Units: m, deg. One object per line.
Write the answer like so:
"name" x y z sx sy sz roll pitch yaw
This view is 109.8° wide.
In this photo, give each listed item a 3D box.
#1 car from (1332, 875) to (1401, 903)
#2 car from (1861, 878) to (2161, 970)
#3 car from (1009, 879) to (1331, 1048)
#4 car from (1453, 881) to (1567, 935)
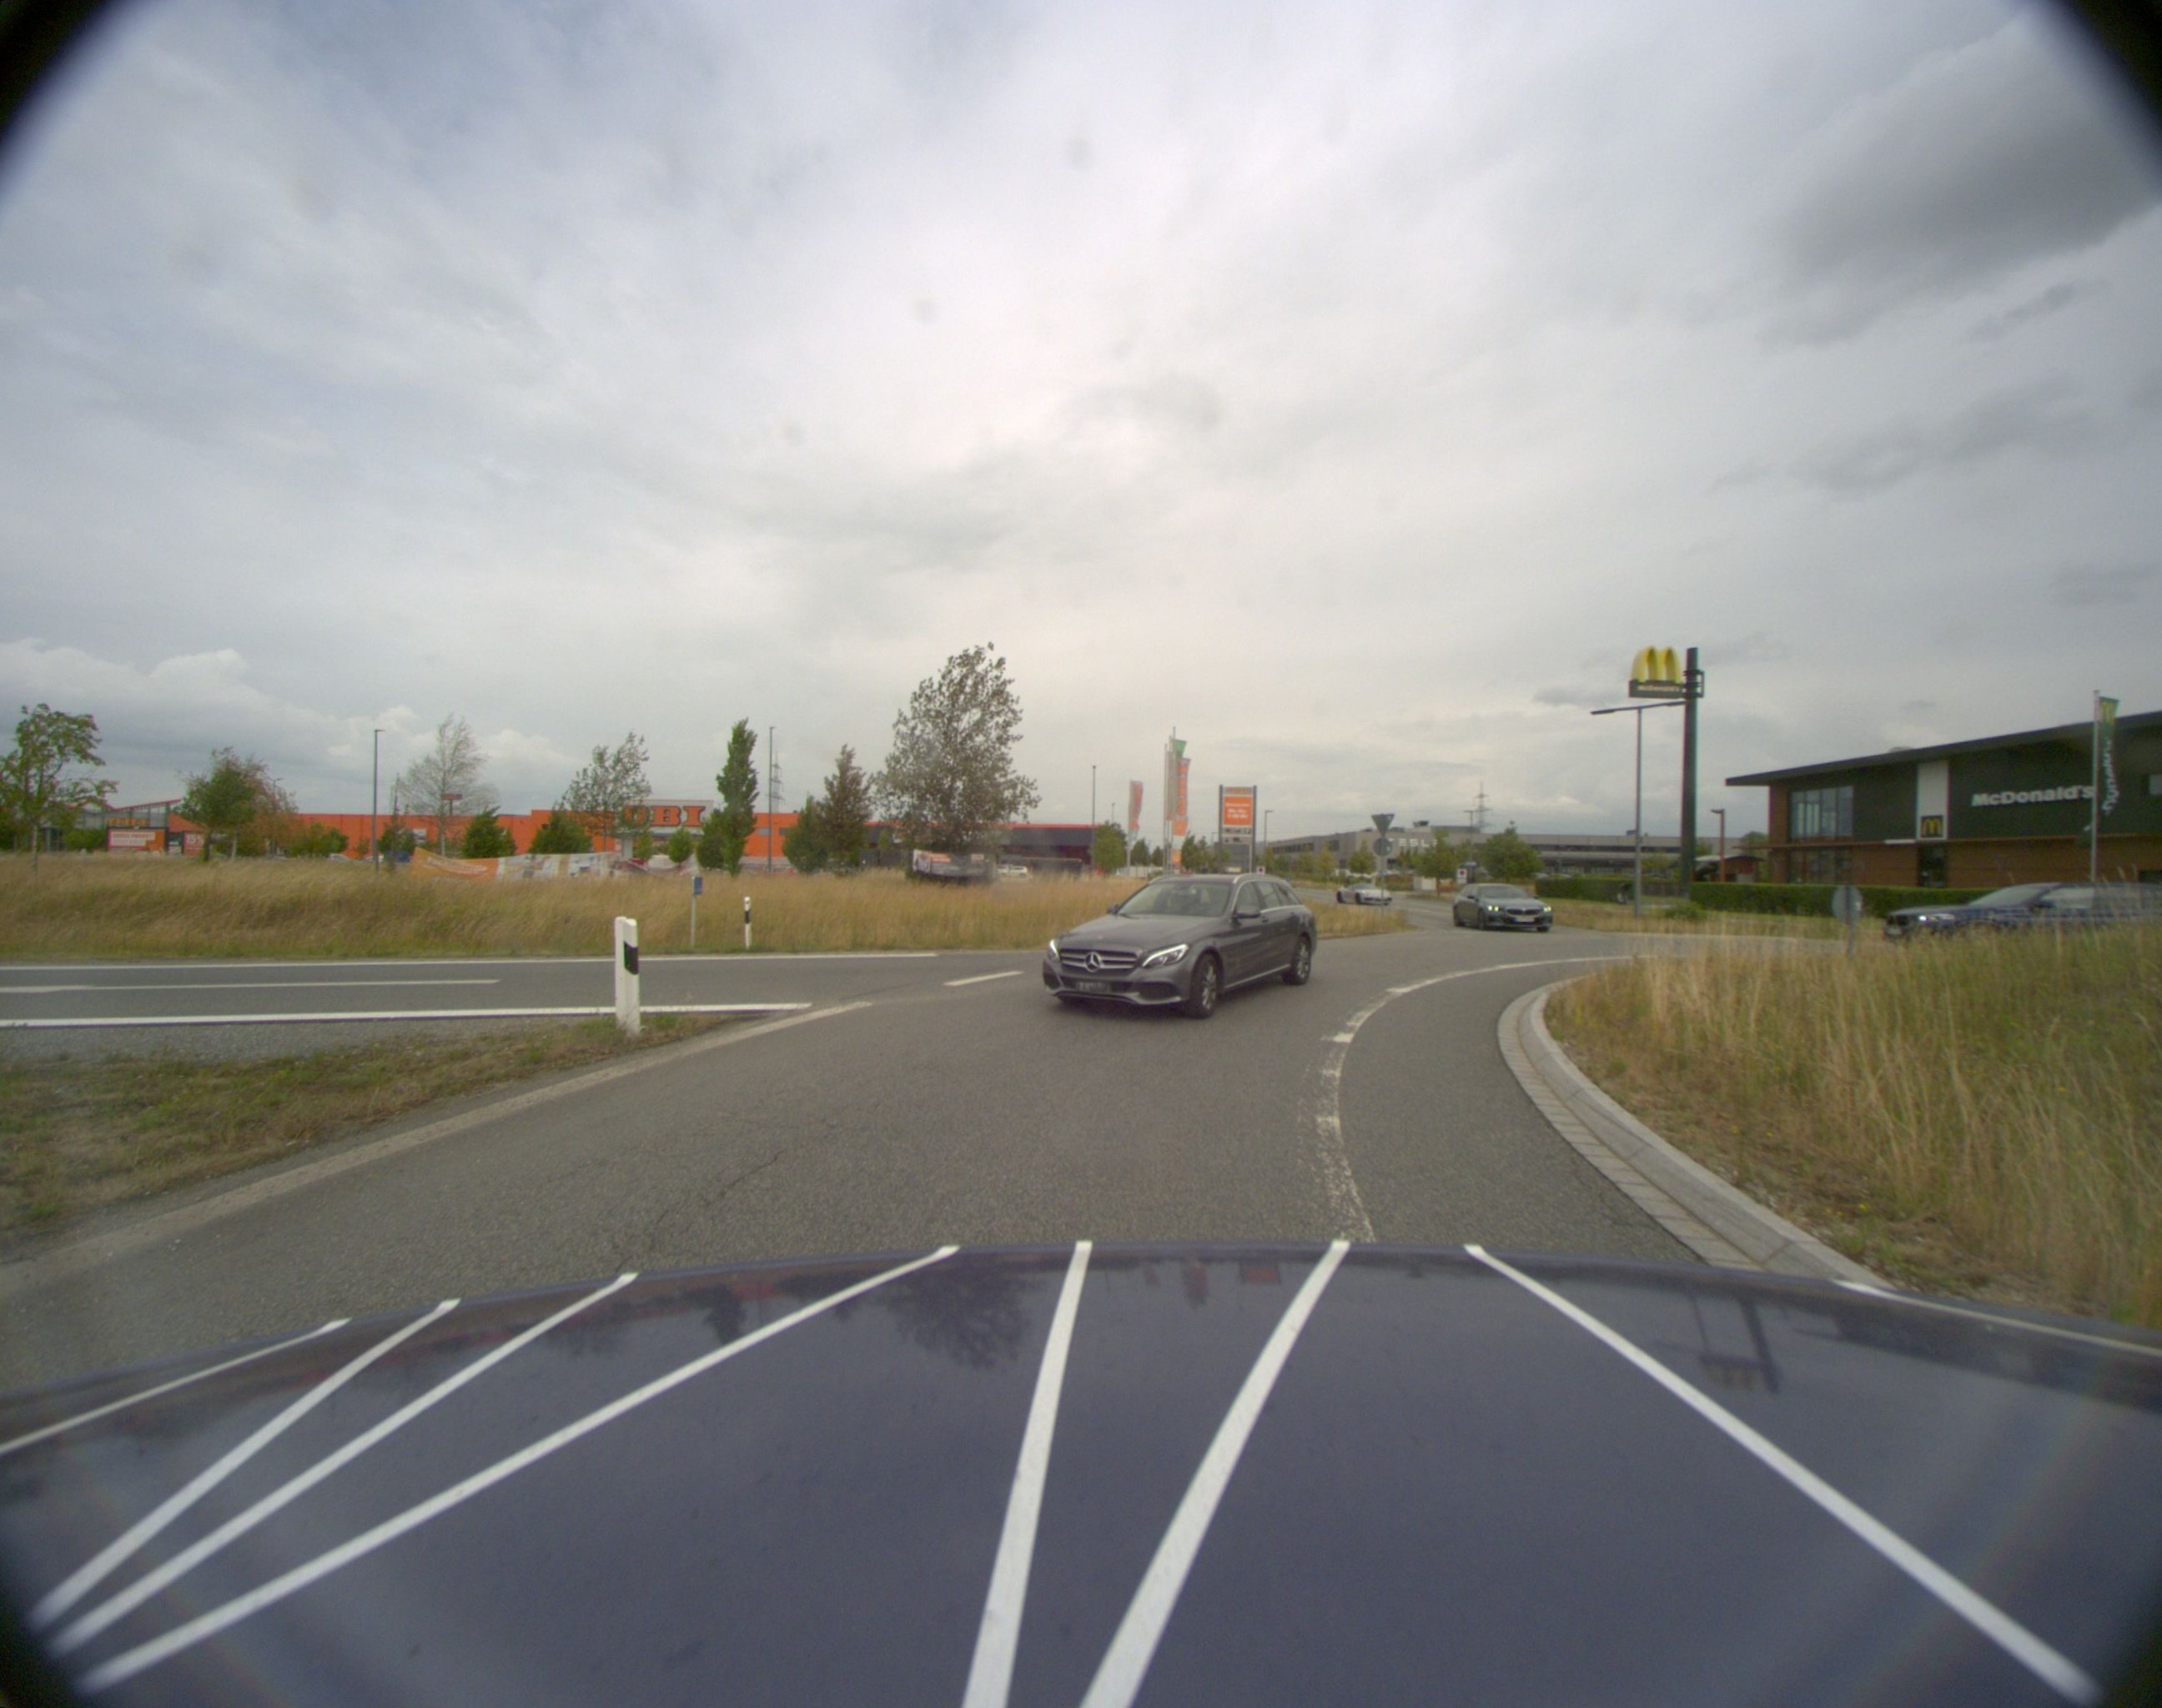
"car" 17.000 2.057 45.475 1.828 1.390 4.731 0 0 -8
"car" 19.629 1.444 16.027 3.991 1.709 1.847 -3 -1 21
"car" 1.318 1.062 9.173 1.902 1.488 4.349 -1 -2 37
"car" 13.736 1.666 24.635 1.995 1.495 4.312 -1 -1 12
